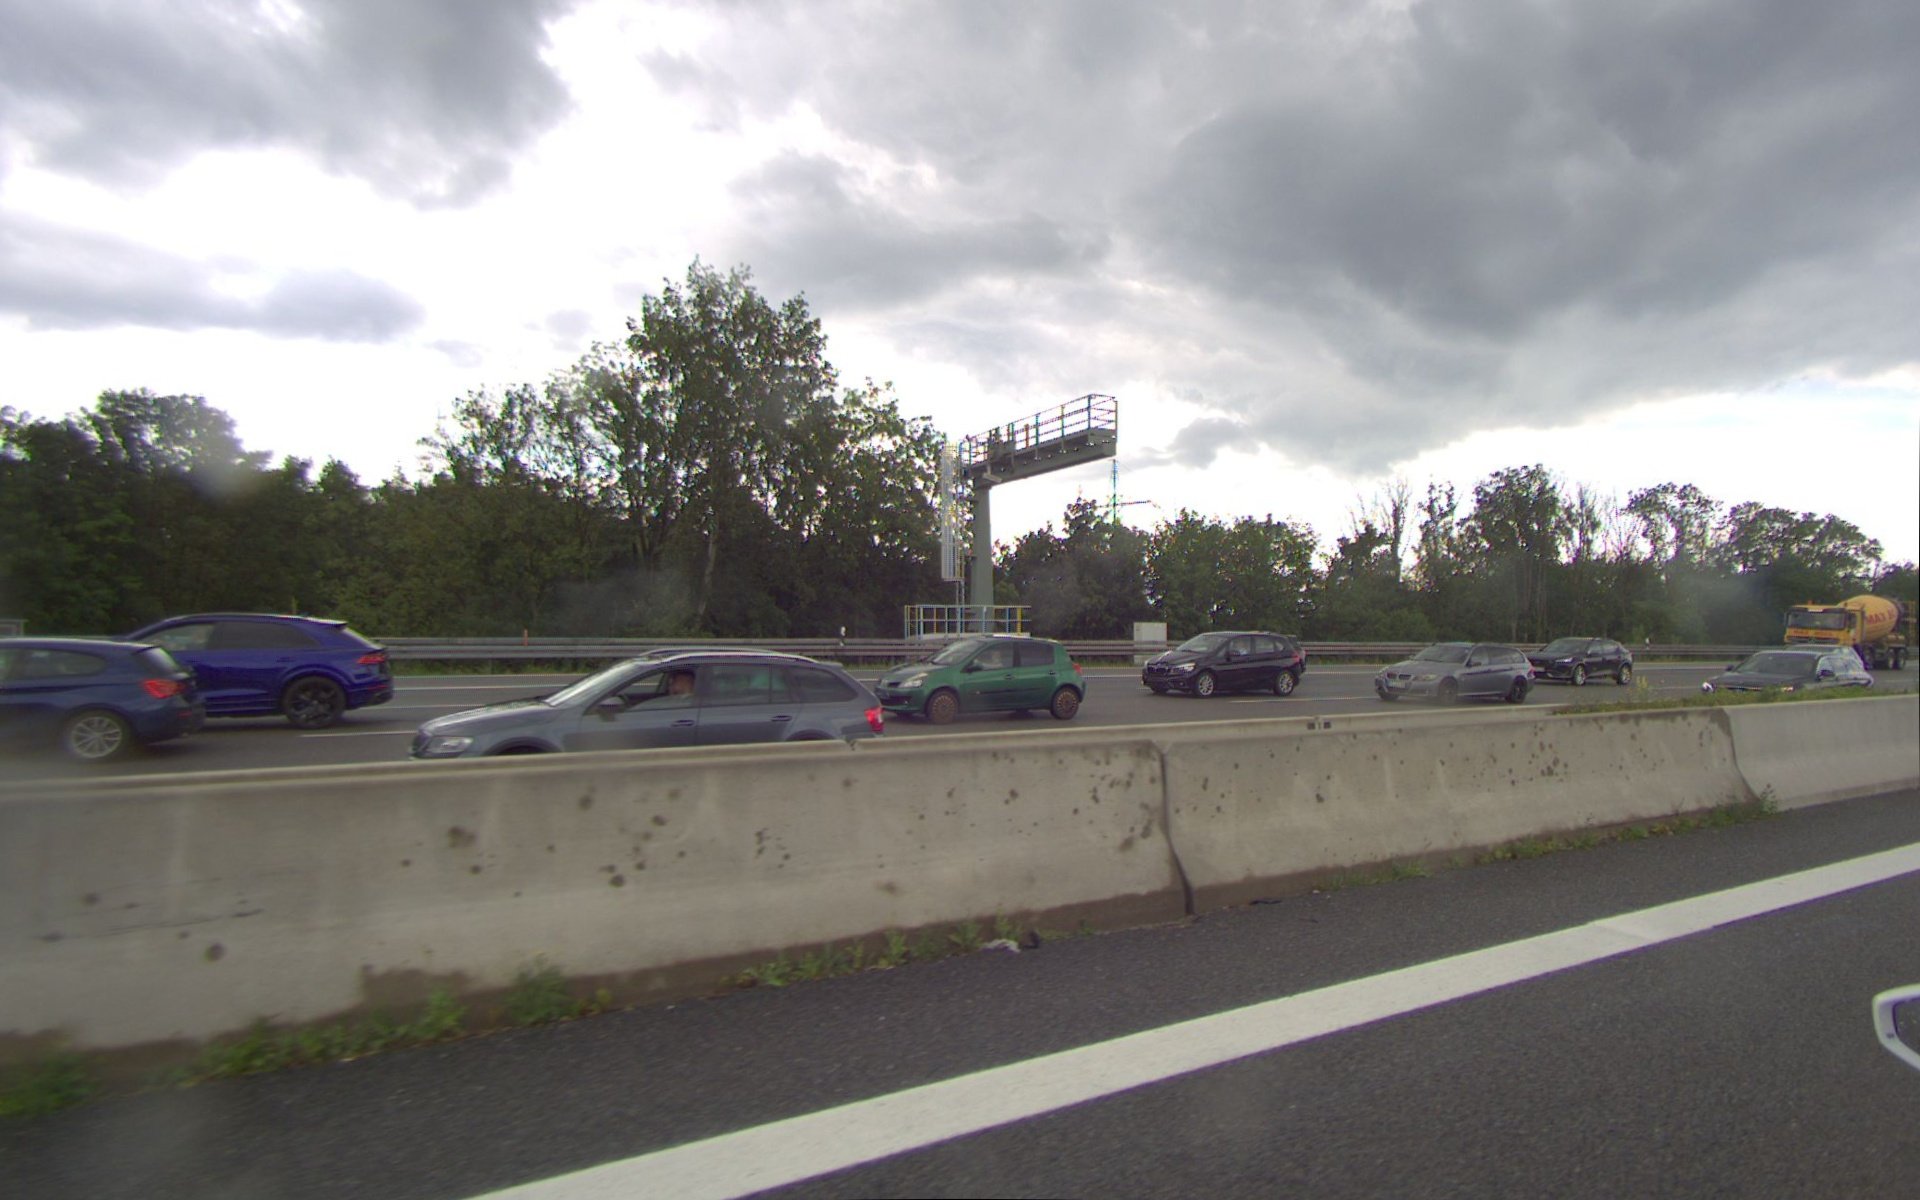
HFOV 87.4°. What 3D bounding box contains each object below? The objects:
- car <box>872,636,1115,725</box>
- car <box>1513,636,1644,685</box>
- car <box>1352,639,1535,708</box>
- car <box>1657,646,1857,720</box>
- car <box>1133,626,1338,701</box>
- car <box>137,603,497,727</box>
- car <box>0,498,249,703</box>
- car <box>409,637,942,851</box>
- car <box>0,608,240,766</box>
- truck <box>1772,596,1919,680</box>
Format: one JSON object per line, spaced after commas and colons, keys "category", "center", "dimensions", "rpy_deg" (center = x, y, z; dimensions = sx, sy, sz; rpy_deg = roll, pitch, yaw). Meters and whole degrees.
{"category": "car", "center": [0.650, 1.411, 18.342], "dimensions": [4.150, 1.437, 1.716], "rpy_deg": [2, -2, -29]}
{"category": "car", "center": [20.538, 1.972, 33.300], "dimensions": [4.464, 1.447, 1.715], "rpy_deg": [2, 0, -29]}
{"category": "car", "center": [11.732, 1.732, 24.318], "dimensions": [4.464, 1.447, 1.715], "rpy_deg": [2, 0, -29]}
{"category": "car", "center": [18.316, 1.841, 23.019], "dimensions": [5.167, 1.447, 1.715], "rpy_deg": [2, 0, -29]}
{"category": "car", "center": [6.915, 1.548, 25.037], "dimensions": [5.172, 1.668, 1.715], "rpy_deg": [2, 0, -29]}
{"category": "car", "center": [-9.720, 0.957, 15.615], "dimensions": [4.464, 1.668, 1.715], "rpy_deg": [2, 0, -29]}
{"category": "car", "center": [-16.870, -0.043, 16.772], "dimensions": [7.847, 3.283, 2.715], "rpy_deg": [2, 0, -31]}
{"category": "car", "center": [-2.764, 1.275, 10.205], "dimensions": [4.934, 1.668, 1.715], "rpy_deg": [2, 0, -30]}
{"category": "car", "center": [-11.117, 0.948, 11.489], "dimensions": [4.466, 1.668, 1.715], "rpy_deg": [2, 0, -30]}
{"category": "truck", "center": [46.254, 1.939, 52.260], "dimensions": [9.467, 4.068, 2.902], "rpy_deg": [2, 0, -29]}
